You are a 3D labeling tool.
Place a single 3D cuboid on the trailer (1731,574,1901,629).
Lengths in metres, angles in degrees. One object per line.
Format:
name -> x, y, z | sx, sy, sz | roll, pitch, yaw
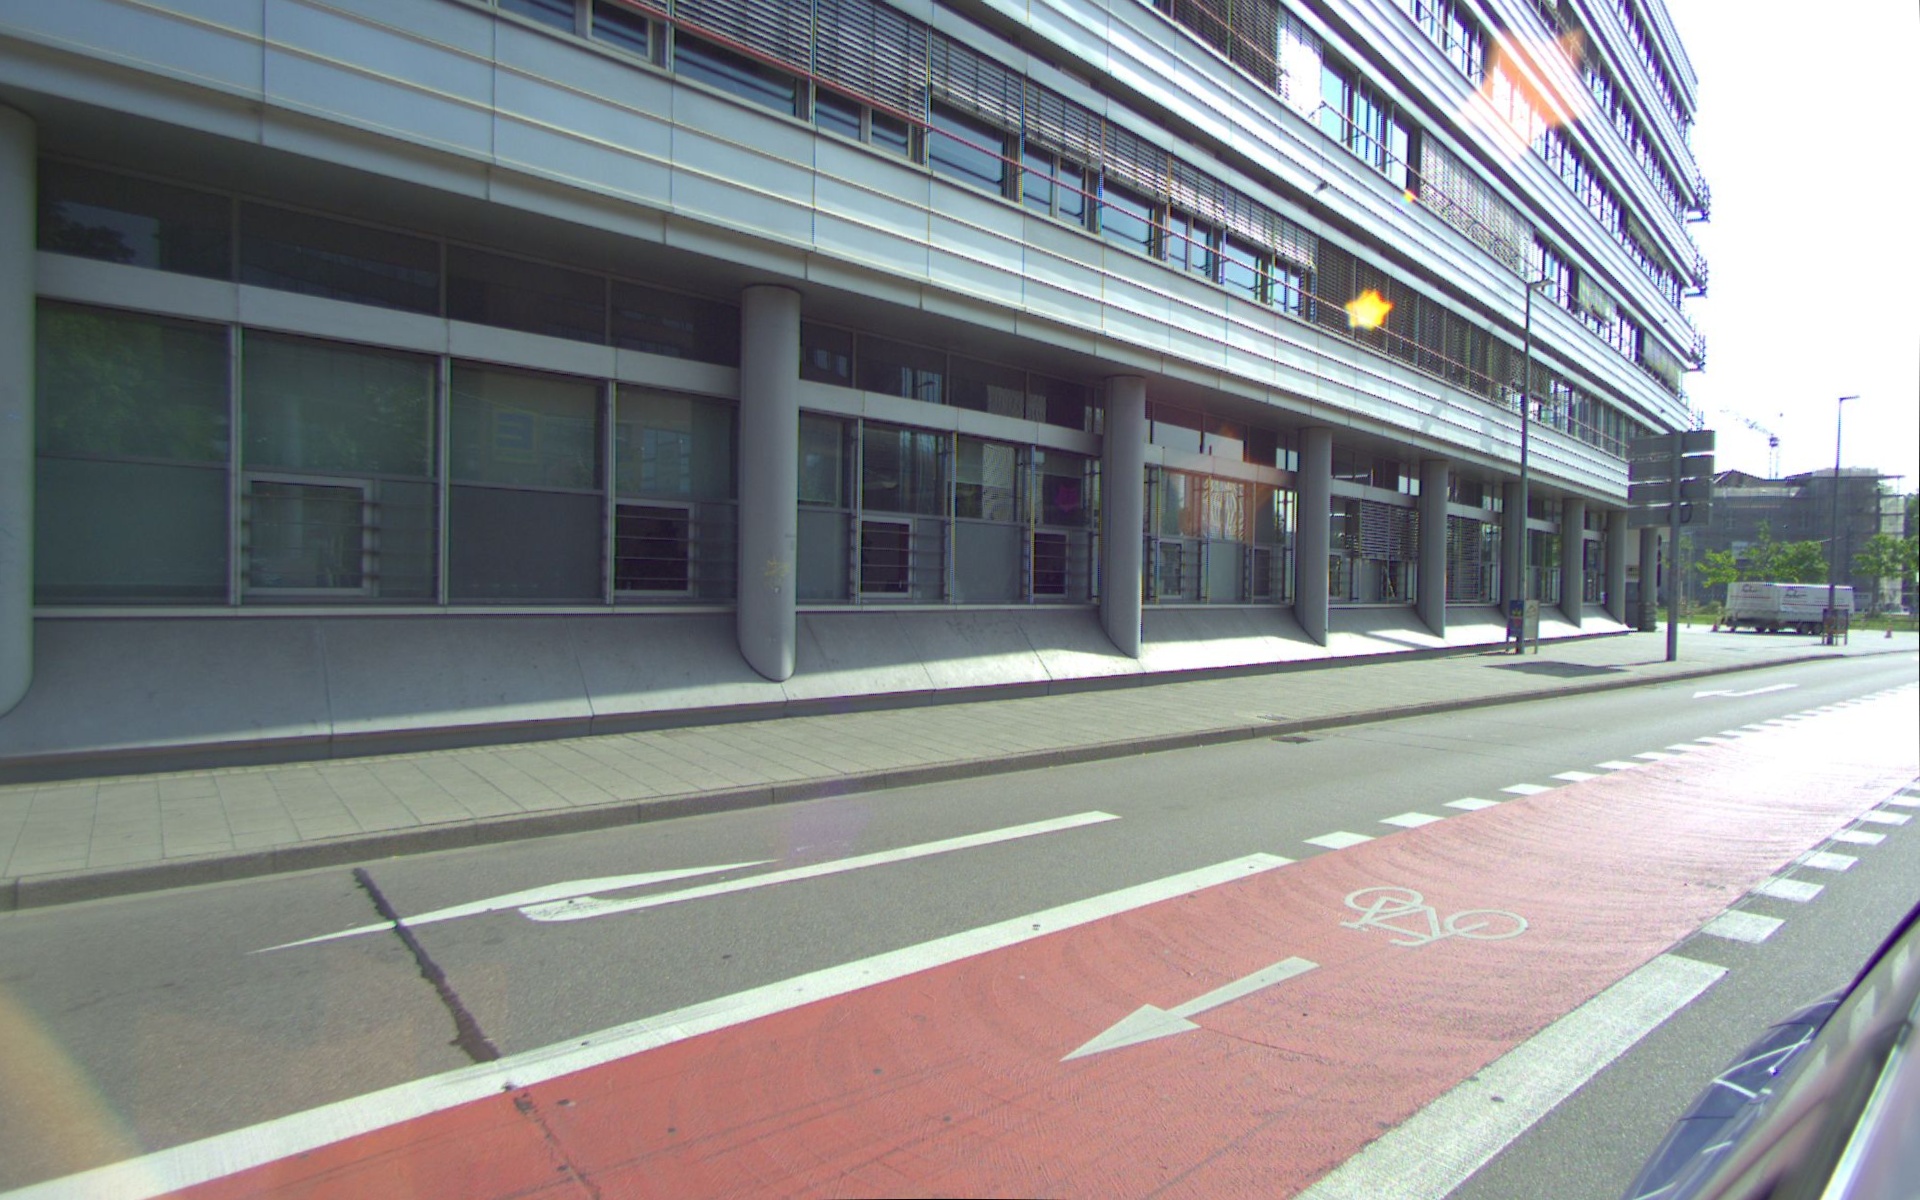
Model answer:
trailer -> 36.445, 0.048, 43.171 | 5.825, 2.178, 2.402 | 1, 1, -12
